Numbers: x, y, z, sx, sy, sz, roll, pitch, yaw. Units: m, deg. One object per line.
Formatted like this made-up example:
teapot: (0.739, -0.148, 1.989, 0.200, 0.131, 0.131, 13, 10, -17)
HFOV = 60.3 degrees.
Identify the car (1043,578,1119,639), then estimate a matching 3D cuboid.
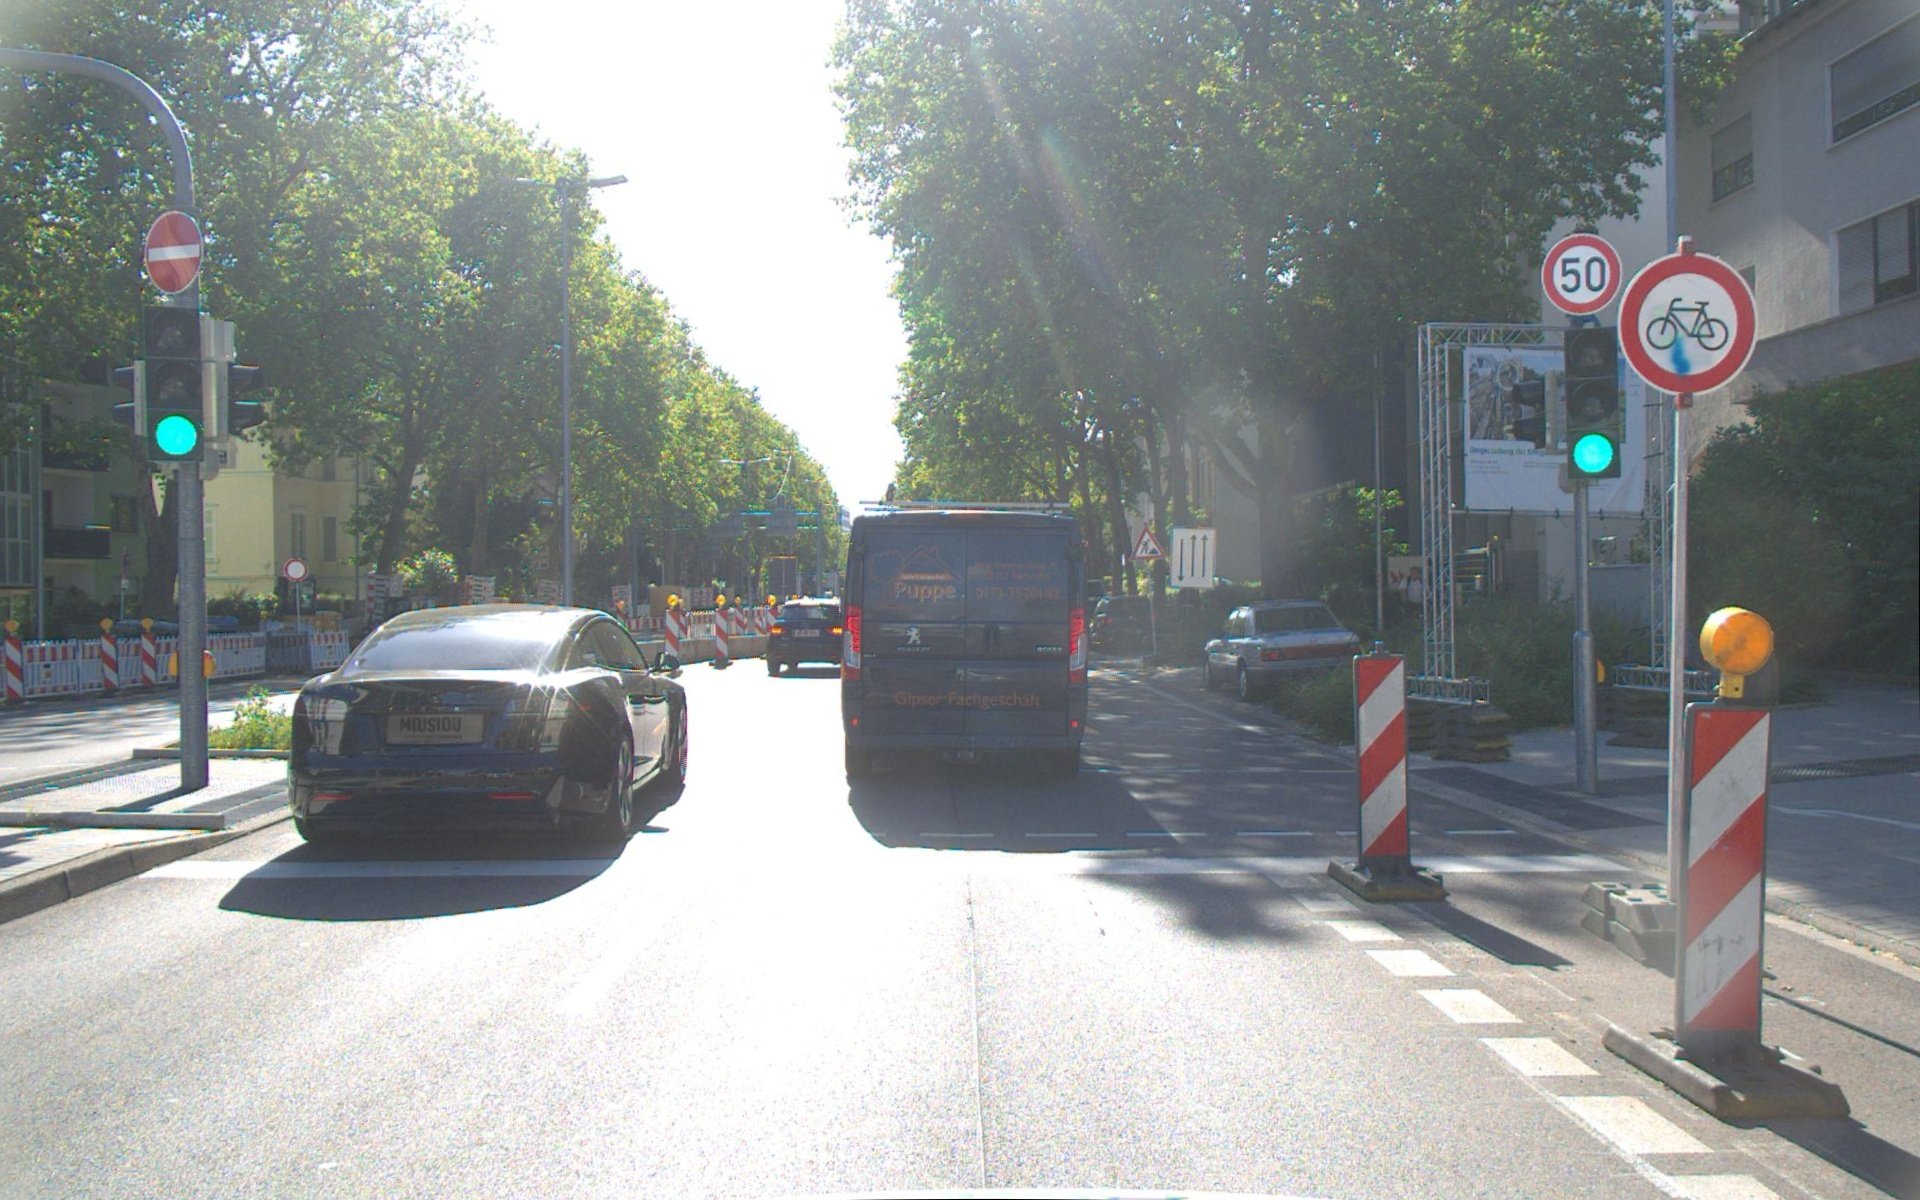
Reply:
car: (4.089, 0.277, 56.816, 1.985, 1.980, 5.271, -1, 0, -2)

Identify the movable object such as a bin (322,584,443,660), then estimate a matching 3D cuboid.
movable object such as a bin: (-18.986, 0.695, 54.671, 1.952, 2.318, 5.599, -2, 0, 1)

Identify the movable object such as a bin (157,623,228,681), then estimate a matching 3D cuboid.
movable object such as a bin: (-17.817, 1.192, 38.411, 0.960, 1.293, 1.540, -1, 0, -2)

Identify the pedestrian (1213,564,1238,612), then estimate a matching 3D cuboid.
pedestrian: (9.590, -0.431, 59.799, 0.692, 1.677, 0.674, 2, 2, -5)

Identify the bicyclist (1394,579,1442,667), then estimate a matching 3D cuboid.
bicyclist: (9.806, 0.486, 35.432, 0.709, 1.852, 1.070, -1, 0, -1)

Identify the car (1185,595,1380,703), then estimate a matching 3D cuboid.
car: (4.915, 0.689, 25.928, 1.815, 1.505, 4.939, 0, 0, -3)

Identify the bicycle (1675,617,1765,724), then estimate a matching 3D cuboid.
bicycle: (7.980, 0.699, 17.325, 0.577, 1.022, 2.126, -1, 0, 32)

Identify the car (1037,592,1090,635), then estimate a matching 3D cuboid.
car: (3.873, 0.493, 62.557, 1.712, 1.503, 4.101, -1, 0, 0)

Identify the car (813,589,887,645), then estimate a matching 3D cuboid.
car: (-3.106, 0.479, 47.348, 1.872, 1.469, 4.601, -1, 0, -1)

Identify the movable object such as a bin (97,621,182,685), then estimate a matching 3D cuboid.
movable object such as a bin: (-17.880, 1.150, 36.072, 1.381, 1.361, 0.936, -1, 0, 0)

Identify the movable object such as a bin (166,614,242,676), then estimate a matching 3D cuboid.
movable object such as a bin: (-18.382, 1.080, 40.213, 1.611, 1.447, 1.251, -1, 0, -28)

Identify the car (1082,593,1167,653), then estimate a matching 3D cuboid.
car: (4.437, 0.599, 45.145, 1.728, 1.534, 4.249, 0, 0, -2)

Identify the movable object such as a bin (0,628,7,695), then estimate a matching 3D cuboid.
movable object such as a bin: (-18.173, 1.124, 29.703, 1.365, 1.224, 1.241, 0, 0, 1)

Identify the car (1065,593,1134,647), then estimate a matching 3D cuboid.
car: (4.188, 0.580, 50.128, 1.624, 1.567, 4.127, 0, 0, -2)

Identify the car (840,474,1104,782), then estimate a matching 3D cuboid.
car: (0.064, 0.199, 14.863, 2.053, 2.396, 3.932, 0, 1, -1)

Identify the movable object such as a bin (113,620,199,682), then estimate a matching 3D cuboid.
movable object such as a bin: (-18.025, 1.133, 37.100, 1.381, 1.361, 1.068, -1, 0, 0)

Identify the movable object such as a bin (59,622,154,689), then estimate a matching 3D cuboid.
movable object such as a bin: (-18.033, 1.165, 34.979, 1.381, 1.361, 1.157, -1, 0, 0)

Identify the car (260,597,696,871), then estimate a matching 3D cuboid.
car: (-3.006, 0.726, 11.386, 1.887, 1.436, 4.622, -1, 0, -4)

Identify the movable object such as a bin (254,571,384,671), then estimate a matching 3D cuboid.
movable object such as a bin: (-18.681, 0.585, 48.499, 2.104, 2.753, 5.349, 0, 0, -5)

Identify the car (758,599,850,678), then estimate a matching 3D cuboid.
car: (-3.111, 0.729, 33.501, 1.711, 1.432, 3.997, 1, 1, -4)
